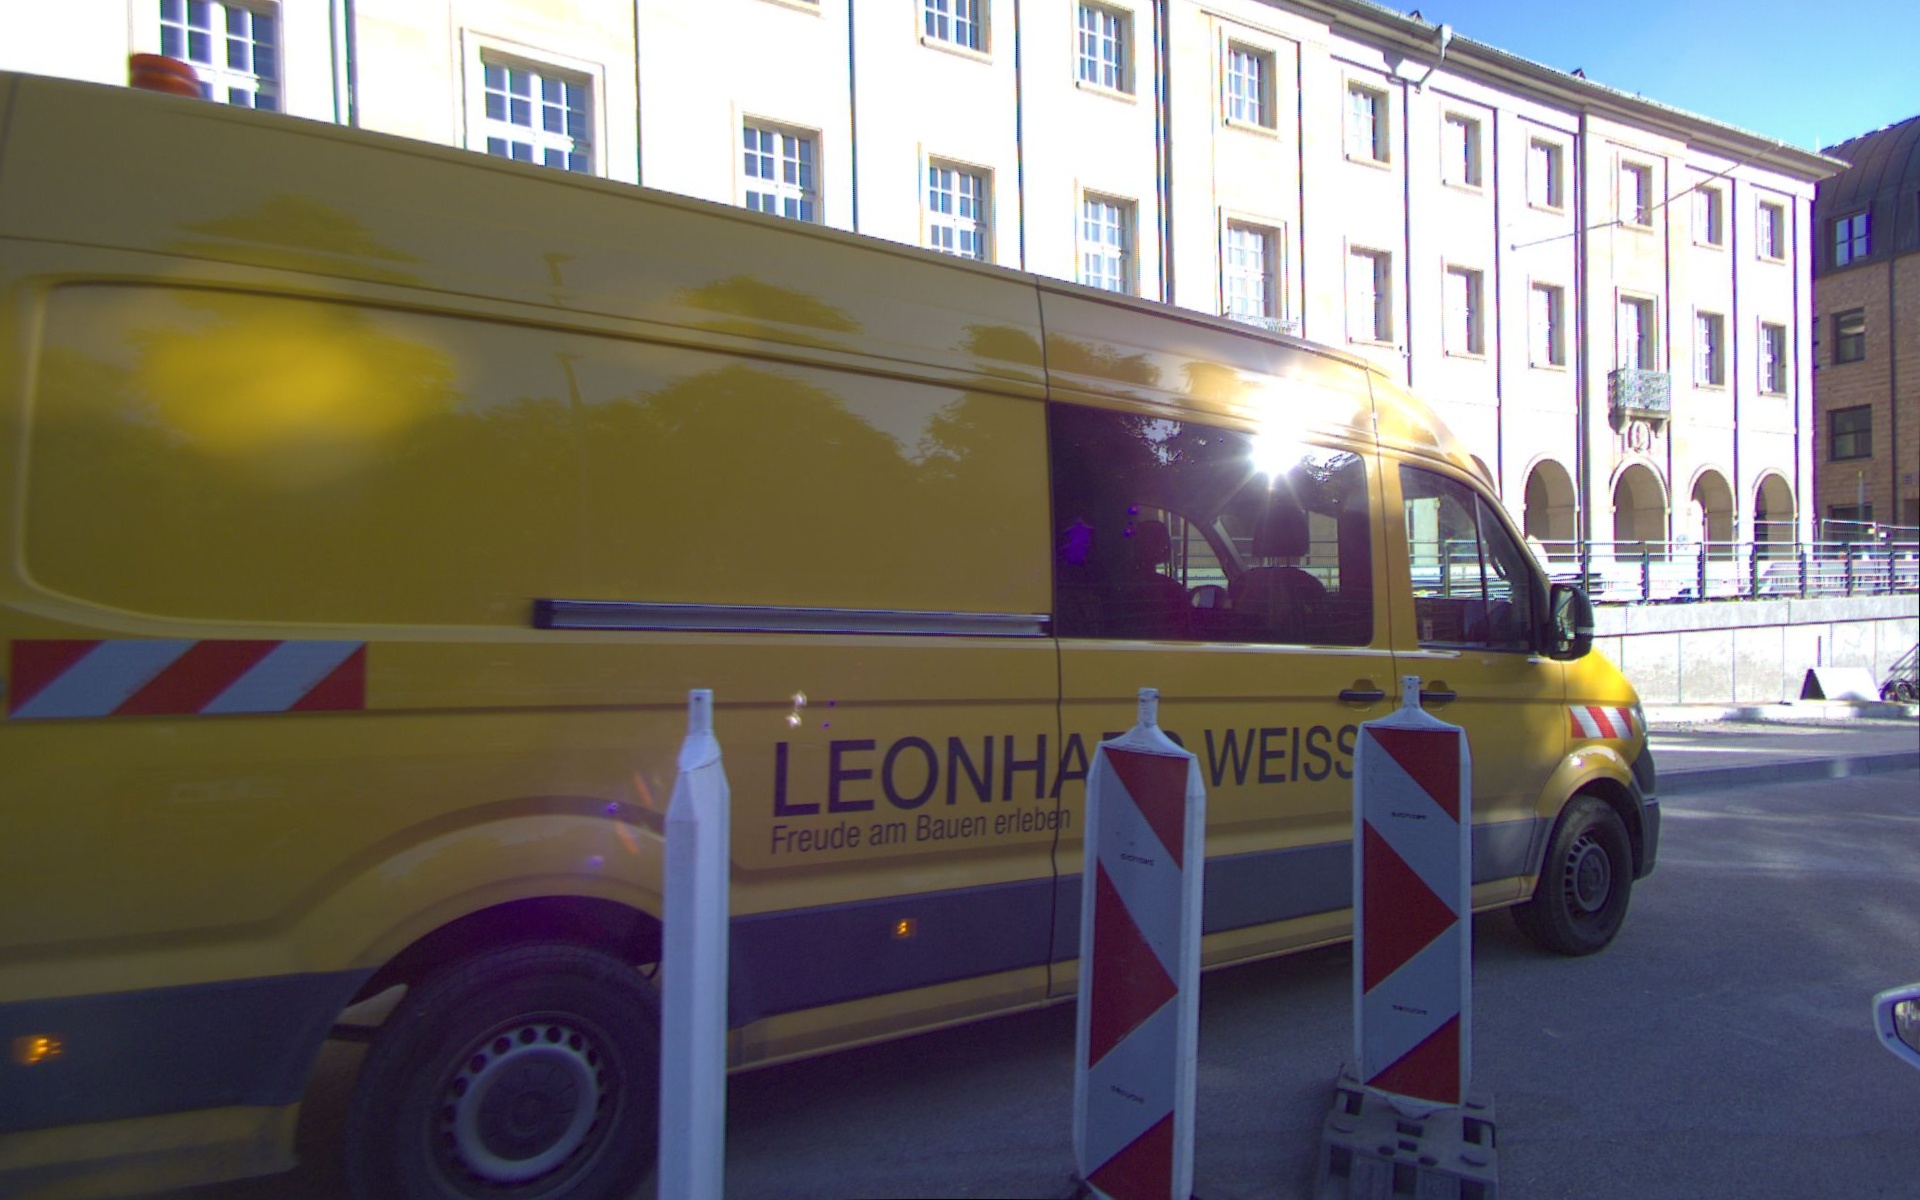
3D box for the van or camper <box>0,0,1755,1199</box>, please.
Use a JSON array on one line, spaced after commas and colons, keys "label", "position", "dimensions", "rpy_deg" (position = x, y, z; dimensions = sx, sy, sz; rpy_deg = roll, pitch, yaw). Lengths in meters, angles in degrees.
[{"label": "van or camper", "position": [0.413, 0.182, 4.200], "dimensions": [6.744, 2.647, 2.183], "rpy_deg": [2, 1, -30]}]
